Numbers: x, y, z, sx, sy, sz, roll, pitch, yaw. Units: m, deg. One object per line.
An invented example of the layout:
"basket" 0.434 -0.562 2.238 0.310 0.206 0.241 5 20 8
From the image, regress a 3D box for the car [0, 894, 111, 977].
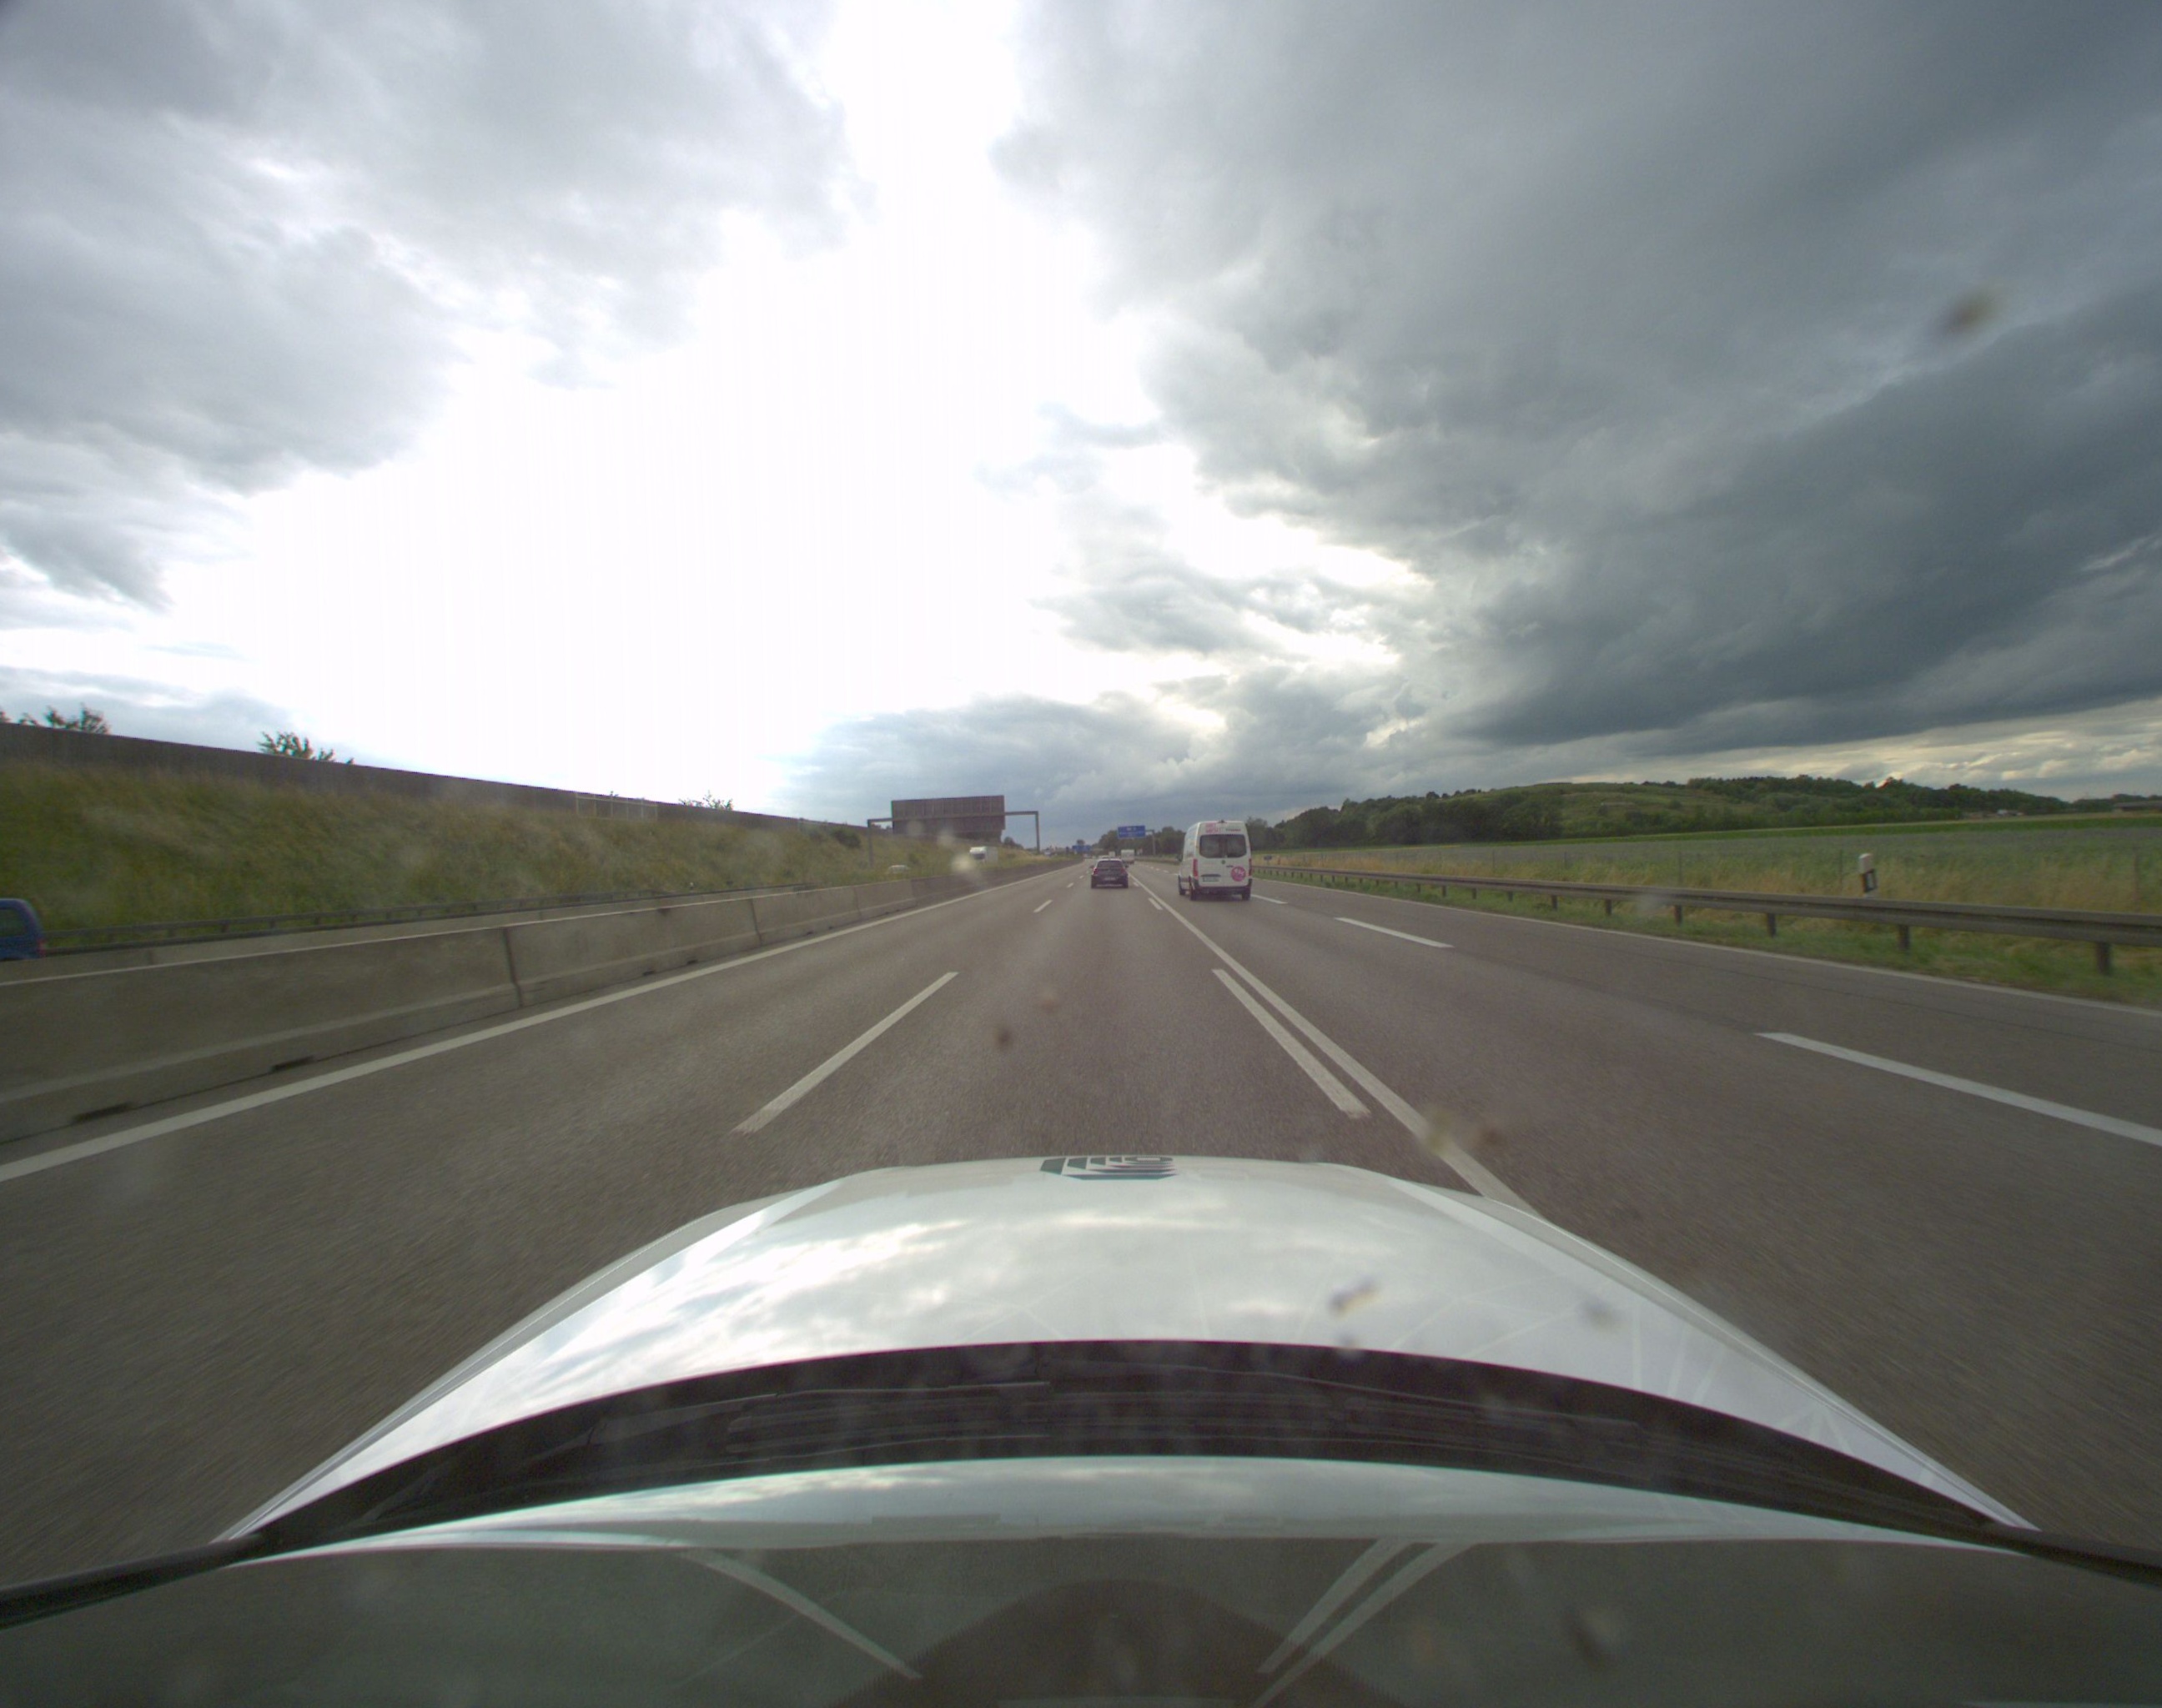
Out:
"car" -19.727 1.450 13.201 1.986 1.364 4.942 0 0 1

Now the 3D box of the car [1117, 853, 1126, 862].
"car" 9.929 0.807 199.066 1.986 2.013 4.001 0 0 1

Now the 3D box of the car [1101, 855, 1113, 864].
"car" 4.192 0.852 131.753 1.986 1.298 4.001 -3 0 1

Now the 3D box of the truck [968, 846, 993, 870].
"truck" -16.288 0.562 132.361 2.716 3.677 7.493 -3 0 2

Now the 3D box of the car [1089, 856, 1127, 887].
"car" 1.303 0.824 39.725 1.736 1.389 4.002 -1 0 2

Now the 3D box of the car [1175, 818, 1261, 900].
"car" 4.782 0.152 29.409 2.213 2.568 6.259 -1 0 2

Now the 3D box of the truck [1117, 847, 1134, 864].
"truck" 8.028 0.282 148.156 2.700 2.964 12.451 0 0 2
